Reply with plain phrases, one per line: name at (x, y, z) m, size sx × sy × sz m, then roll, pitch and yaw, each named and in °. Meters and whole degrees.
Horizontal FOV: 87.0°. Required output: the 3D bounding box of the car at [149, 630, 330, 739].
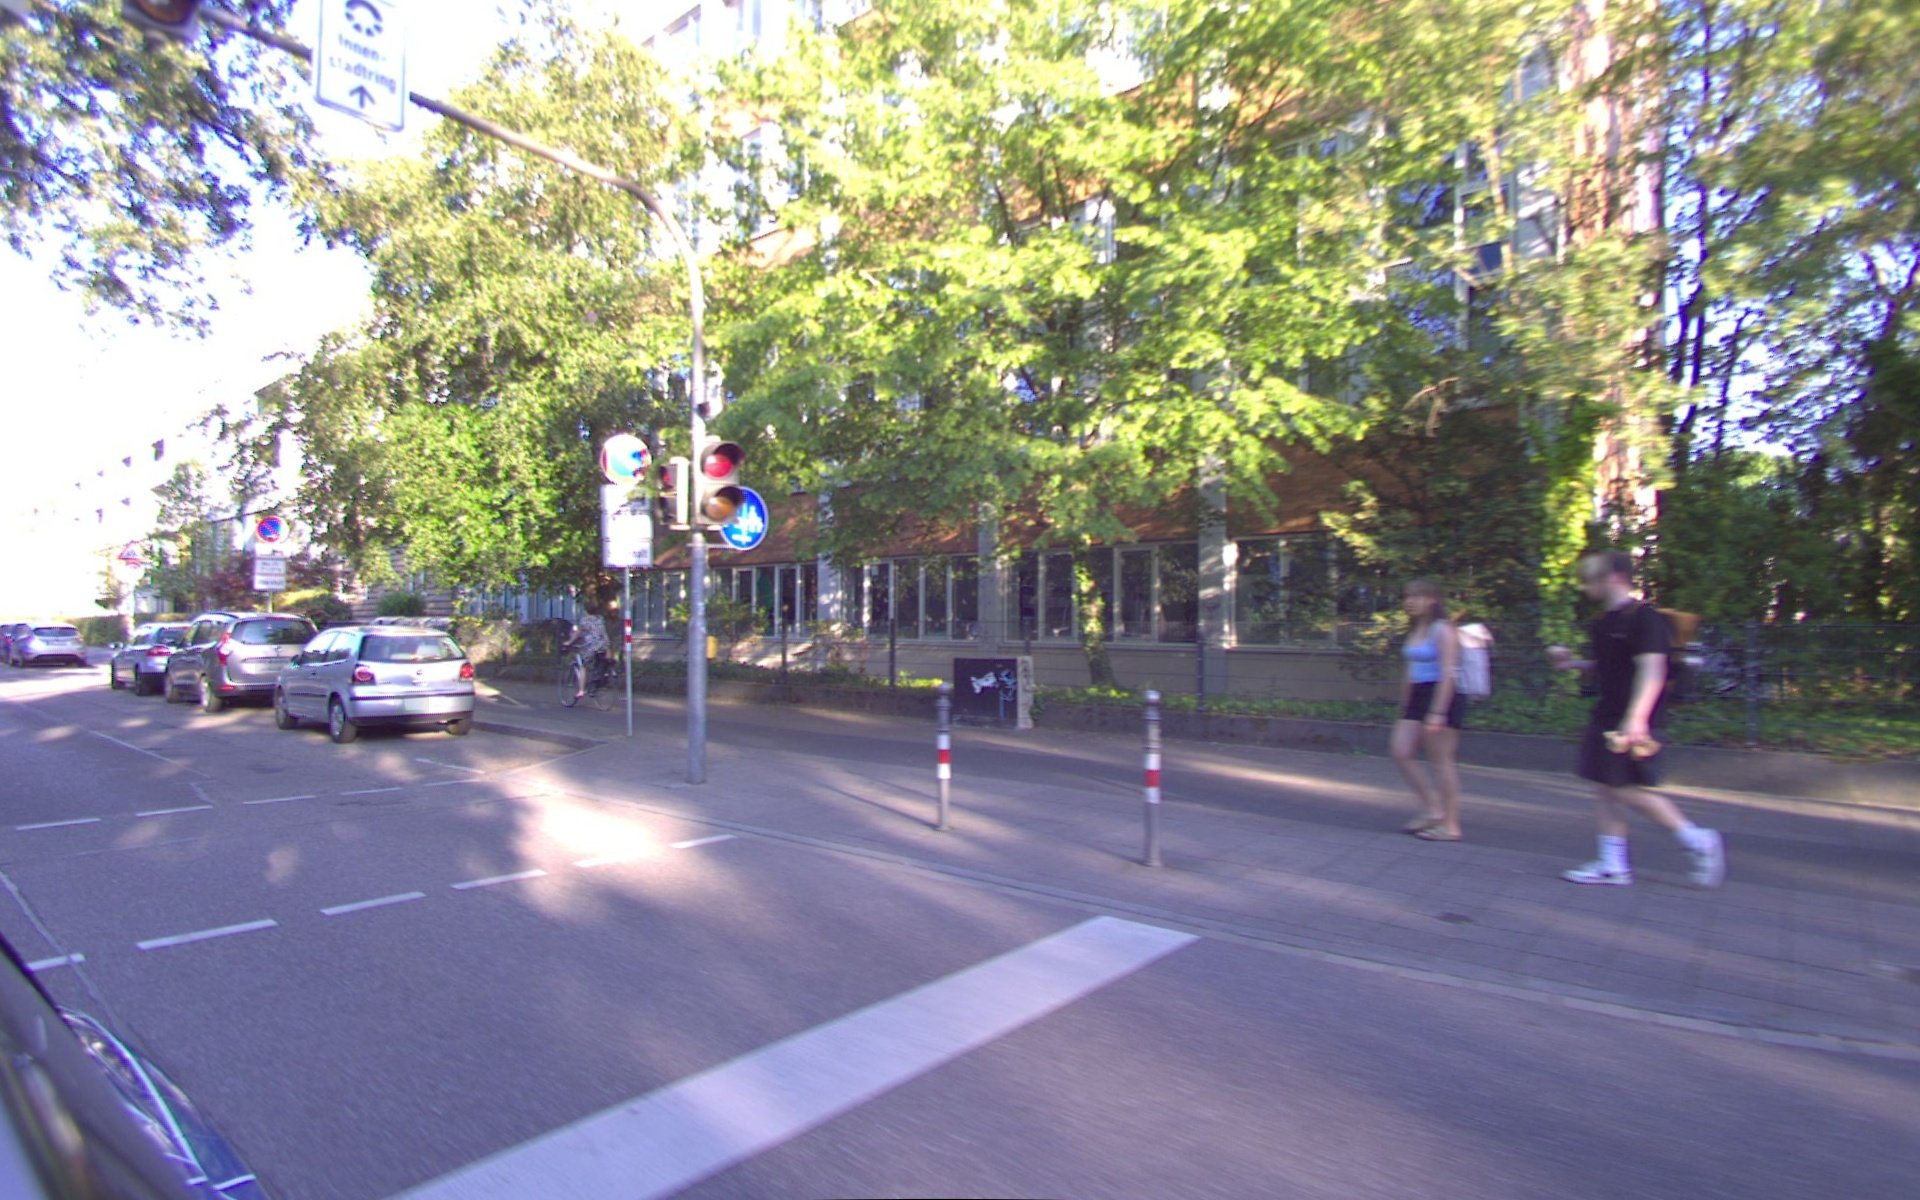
car at (-12.999, 1.443, 18.157) m, size 4.338 × 1.721 × 1.661 m, roll -2°, pitch -4°, yaw 41°

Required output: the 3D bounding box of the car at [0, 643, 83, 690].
car at (-30.626, 2.182, 33.670) m, size 3.769 × 1.505 × 1.584 m, roll -2°, pitch -4°, yaw 40°

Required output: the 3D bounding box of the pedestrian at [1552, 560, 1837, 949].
pedestrian at (3.802, 0.749, 5.349) m, size 0.949 × 1.838 × 0.818 m, roll -1°, pitch -3°, yaw 17°

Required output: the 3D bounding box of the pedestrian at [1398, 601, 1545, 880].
pedestrian at (3.276, 0.861, 6.554) m, size 0.701 × 1.675 × 0.712 m, roll -1°, pitch -3°, yaw 17°

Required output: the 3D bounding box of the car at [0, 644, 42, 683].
car at (-37.481, 2.455, 39.714) m, size 4.051 × 1.466 × 1.582 m, roll -2°, pitch -4°, yaw 40°

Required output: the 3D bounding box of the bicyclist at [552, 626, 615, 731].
bicyclist at (-6.004, 1.222, 16.142) m, size 0.705 × 1.615 × 0.669 m, roll -1°, pitch -2°, yaw 35°

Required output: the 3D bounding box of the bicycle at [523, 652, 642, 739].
bicycle at (-6.062, 1.490, 16.180) m, size 2.187 × 1.258 × 0.680 m, roll -1°, pitch -2°, yaw 35°

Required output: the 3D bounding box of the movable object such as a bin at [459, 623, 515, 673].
movable object such as a bin at (-14.144, 1.416, 30.260) m, size 1.372 × 1.441 × 1.086 m, roll -2°, pitch -2°, yaw 44°

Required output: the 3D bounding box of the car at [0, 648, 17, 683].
car at (-42.309, 2.823, 43.861) m, size 3.858 × 1.466 × 1.582 m, roll -1°, pitch -3°, yaw 40°

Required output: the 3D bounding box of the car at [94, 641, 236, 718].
car at (-17.182, 1.656, 21.806) m, size 4.059 × 1.505 × 1.653 m, roll -2°, pitch -4°, yaw 41°

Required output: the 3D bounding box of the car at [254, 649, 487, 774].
car at (-8.197, 1.417, 13.944) m, size 3.881 × 1.468 × 1.661 m, roll -2°, pitch -4°, yaw 42°

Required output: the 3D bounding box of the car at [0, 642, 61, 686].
car at (-33.945, 2.285, 36.734) m, size 3.787 × 1.519 × 1.581 m, roll -2°, pitch -4°, yaw 43°
